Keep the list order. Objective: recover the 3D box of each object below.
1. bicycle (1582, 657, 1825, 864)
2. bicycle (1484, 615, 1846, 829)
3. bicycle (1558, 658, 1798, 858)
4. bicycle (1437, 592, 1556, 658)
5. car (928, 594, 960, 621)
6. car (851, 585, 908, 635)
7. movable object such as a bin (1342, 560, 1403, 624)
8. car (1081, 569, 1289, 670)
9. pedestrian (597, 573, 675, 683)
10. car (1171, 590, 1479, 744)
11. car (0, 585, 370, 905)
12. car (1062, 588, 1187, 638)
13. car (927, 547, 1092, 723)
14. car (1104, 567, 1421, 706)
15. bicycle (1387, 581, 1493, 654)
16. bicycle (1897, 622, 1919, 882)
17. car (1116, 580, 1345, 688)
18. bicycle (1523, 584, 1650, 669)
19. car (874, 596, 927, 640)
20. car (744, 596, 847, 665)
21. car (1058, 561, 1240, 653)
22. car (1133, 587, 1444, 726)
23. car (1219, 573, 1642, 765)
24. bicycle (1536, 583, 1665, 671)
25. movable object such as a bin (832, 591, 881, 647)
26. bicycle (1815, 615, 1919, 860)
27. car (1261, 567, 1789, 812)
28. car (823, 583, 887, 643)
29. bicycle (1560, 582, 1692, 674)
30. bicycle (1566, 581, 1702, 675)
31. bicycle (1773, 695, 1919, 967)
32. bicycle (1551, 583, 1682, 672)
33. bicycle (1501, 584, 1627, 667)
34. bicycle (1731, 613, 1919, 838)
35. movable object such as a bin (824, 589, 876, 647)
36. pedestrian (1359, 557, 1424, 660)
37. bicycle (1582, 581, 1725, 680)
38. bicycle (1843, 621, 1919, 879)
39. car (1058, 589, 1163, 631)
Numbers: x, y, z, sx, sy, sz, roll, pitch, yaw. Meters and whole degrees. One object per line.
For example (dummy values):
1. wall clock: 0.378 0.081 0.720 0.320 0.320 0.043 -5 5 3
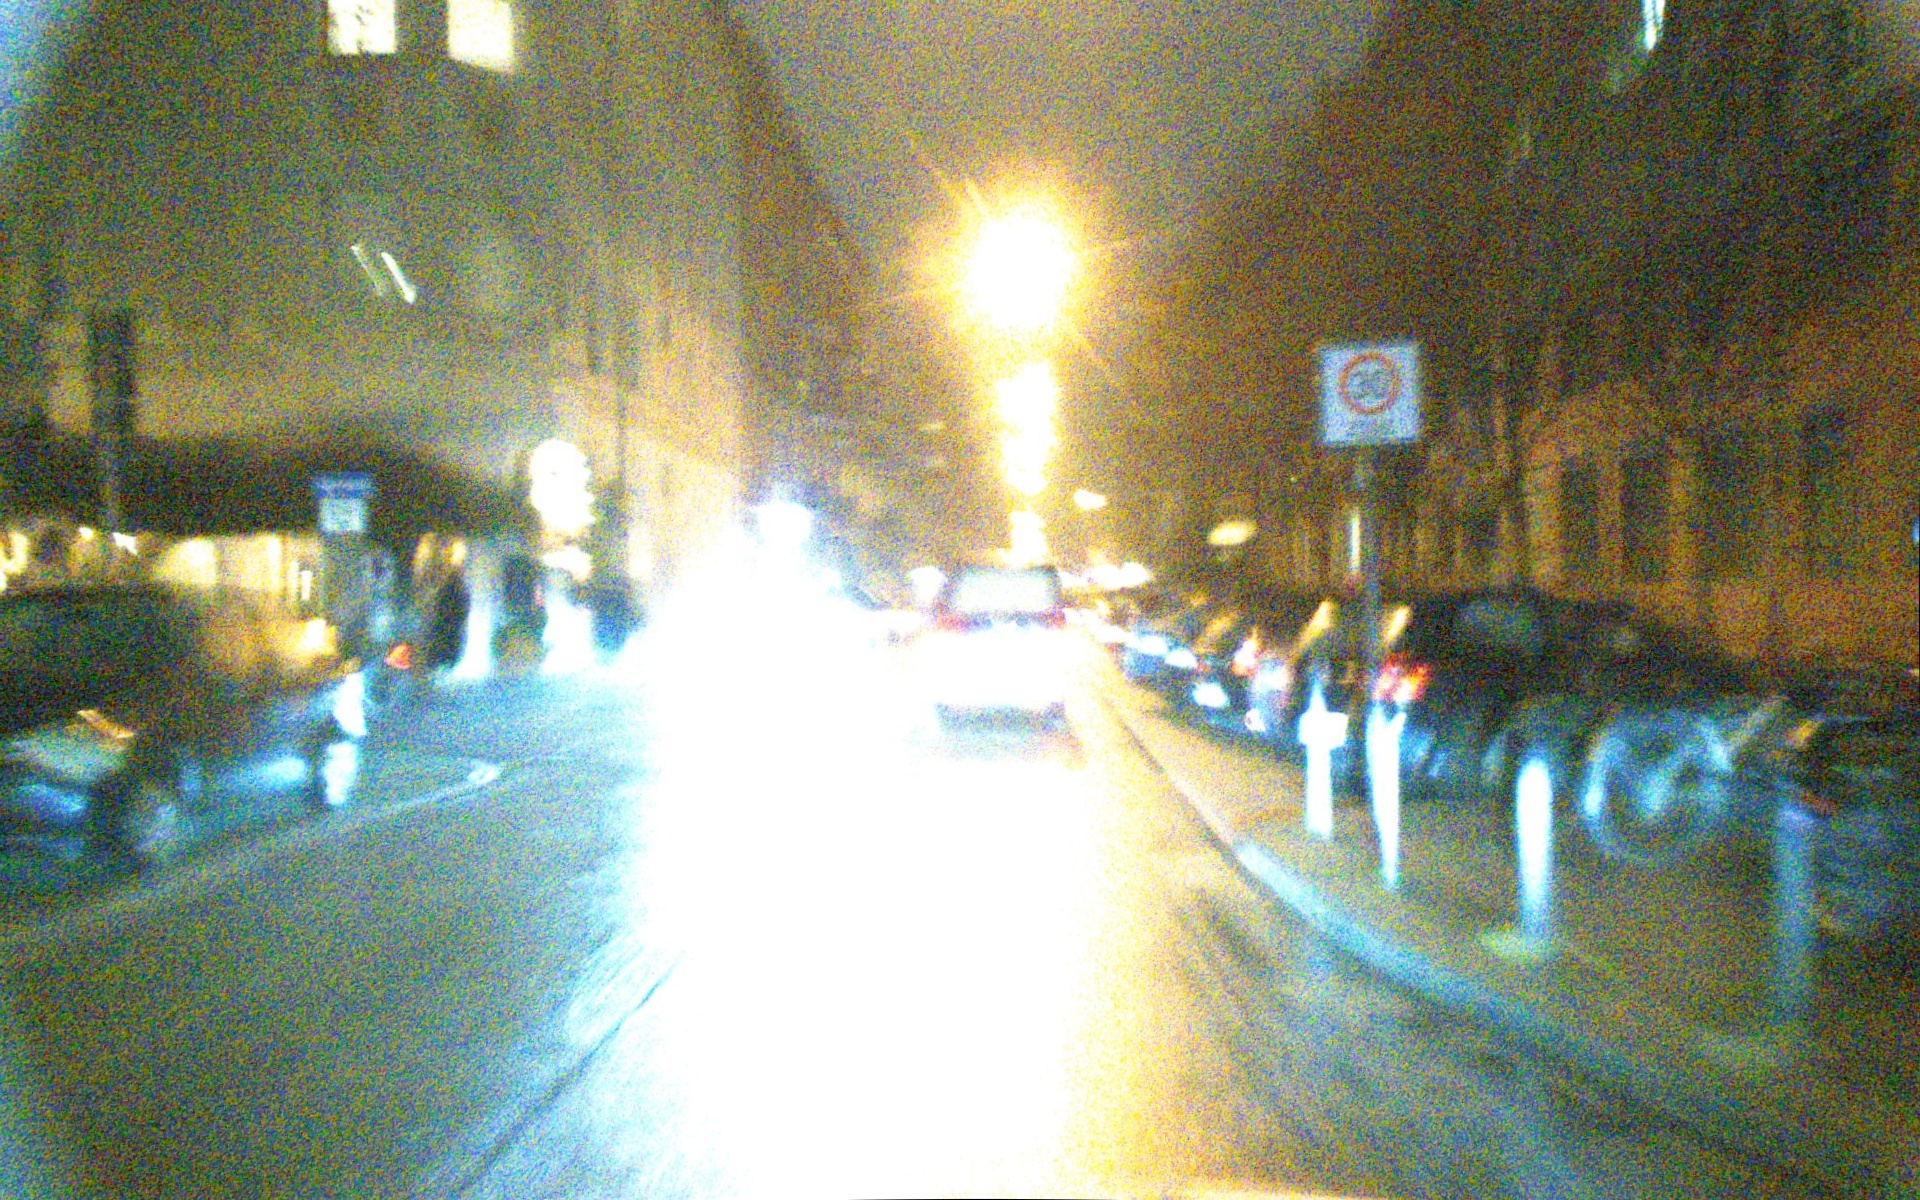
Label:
1. bicycle: 3.819 0.819 8.516 1.109 0.991 0.249 -2 0 0
2. bicycle: 4.173 0.713 9.897 1.849 1.178 0.680 -2 0 5
3. bicycle: 3.809 0.831 8.795 1.109 0.964 0.267 -4 0 0
4. bicycle: 9.605 0.440 29.634 1.933 1.073 0.509 -3 0 -4
5. car: -0.885 0.417 94.194 1.554 1.508 3.795 1 0 4
6. car: -2.693 0.304 56.187 1.570 1.579 4.027 1 1 2
7. movable object such as a bin: 10.225 -0.192 41.037 1.184 1.476 0.999 -5 0 2
8. car: 4.732 0.384 34.540 4.196 1.891 1.697 -2 0 -34
9. pedestrian: -5.413 0.456 27.679 1.108 1.814 0.788 0 0 2
10. car: 4.009 0.699 18.237 2.993 1.579 1.497 1 0 -20
11. car: -4.868 0.670 9.593 1.514 1.468 3.564 2 0 1
12. car: 5.556 0.421 55.734 3.950 1.579 1.784 -1 0 -33
13. car: 0.681 0.429 21.659 1.952 2.086 4.001 0 -1 2
14. car: 4.226 0.485 23.147 4.037 1.795 1.846 1 0 -23
15. bicycle: 9.736 0.346 33.625 1.929 1.358 0.783 -3 0 9
16. bicycle: 5.138 0.669 7.465 1.563 1.178 0.418 -2 0 -1
17. car: 4.714 0.539 28.735 3.754 1.758 1.722 0 0 -32
18. bicycle: 9.402 0.385 24.832 1.653 1.166 0.596 -3 0 -6
19. car: -2.171 0.635 61.215 1.651 1.481 4.317 1 1 2
20. car: -3.469 0.603 35.563 1.619 1.383 4.223 0 0 2
21. car: 5.061 0.159 44.048 4.669 2.287 1.924 -1 0 -34
22. car: 4.133 0.684 20.931 3.500 1.639 1.703 1 0 -20
23. car: 4.491 0.597 15.804 3.650 1.549 1.645 -2 0 -23
24. bicycle: 9.343 0.384 24.151 1.653 1.166 0.541 -3 0 -6
25. movable object such as a bin: -2.810 0.509 45.057 1.140 1.485 1.107 2 0 4
26. bicycle: 5.213 0.660 8.352 1.563 1.178 0.418 -2 0 -1
27. car: 4.328 0.606 12.696 3.650 1.549 1.645 -2 0 -23
28. car: -3.150 0.371 50.255 1.570 1.736 3.722 0 0 2
29. bicycle: 9.284 0.384 23.053 1.653 1.166 0.428 -3 0 -6
30. bicycle: 9.157 0.368 22.482 1.653 1.166 0.428 -3 0 -6
31. bicycle: 3.781 0.854 6.306 1.186 0.964 0.302 -2 0 -1
32. bicycle: 9.361 0.385 23.585 1.653 1.166 0.485 -3 0 -6
33. bicycle: 9.341 0.381 25.599 1.653 1.166 0.665 -3 0 -6
34. bicycle: 5.169 0.672 9.102 1.561 1.178 0.540 -2 0 10
35. movable object such as a bin: -2.915 0.469 43.813 1.183 1.485 1.107 2 0 4
36. pedestrian: 8.216 0.160 31.504 0.821 1.867 0.947 -5 -1 -1
37. bicycle: 8.926 0.382 21.308 1.653 1.166 0.428 -3 0 -6
38. bicycle: 5.124 0.681 7.908 1.563 1.178 0.418 -2 0 -1
39. car: 5.717 0.366 62.868 3.620 1.486 1.594 -2 0 -21
